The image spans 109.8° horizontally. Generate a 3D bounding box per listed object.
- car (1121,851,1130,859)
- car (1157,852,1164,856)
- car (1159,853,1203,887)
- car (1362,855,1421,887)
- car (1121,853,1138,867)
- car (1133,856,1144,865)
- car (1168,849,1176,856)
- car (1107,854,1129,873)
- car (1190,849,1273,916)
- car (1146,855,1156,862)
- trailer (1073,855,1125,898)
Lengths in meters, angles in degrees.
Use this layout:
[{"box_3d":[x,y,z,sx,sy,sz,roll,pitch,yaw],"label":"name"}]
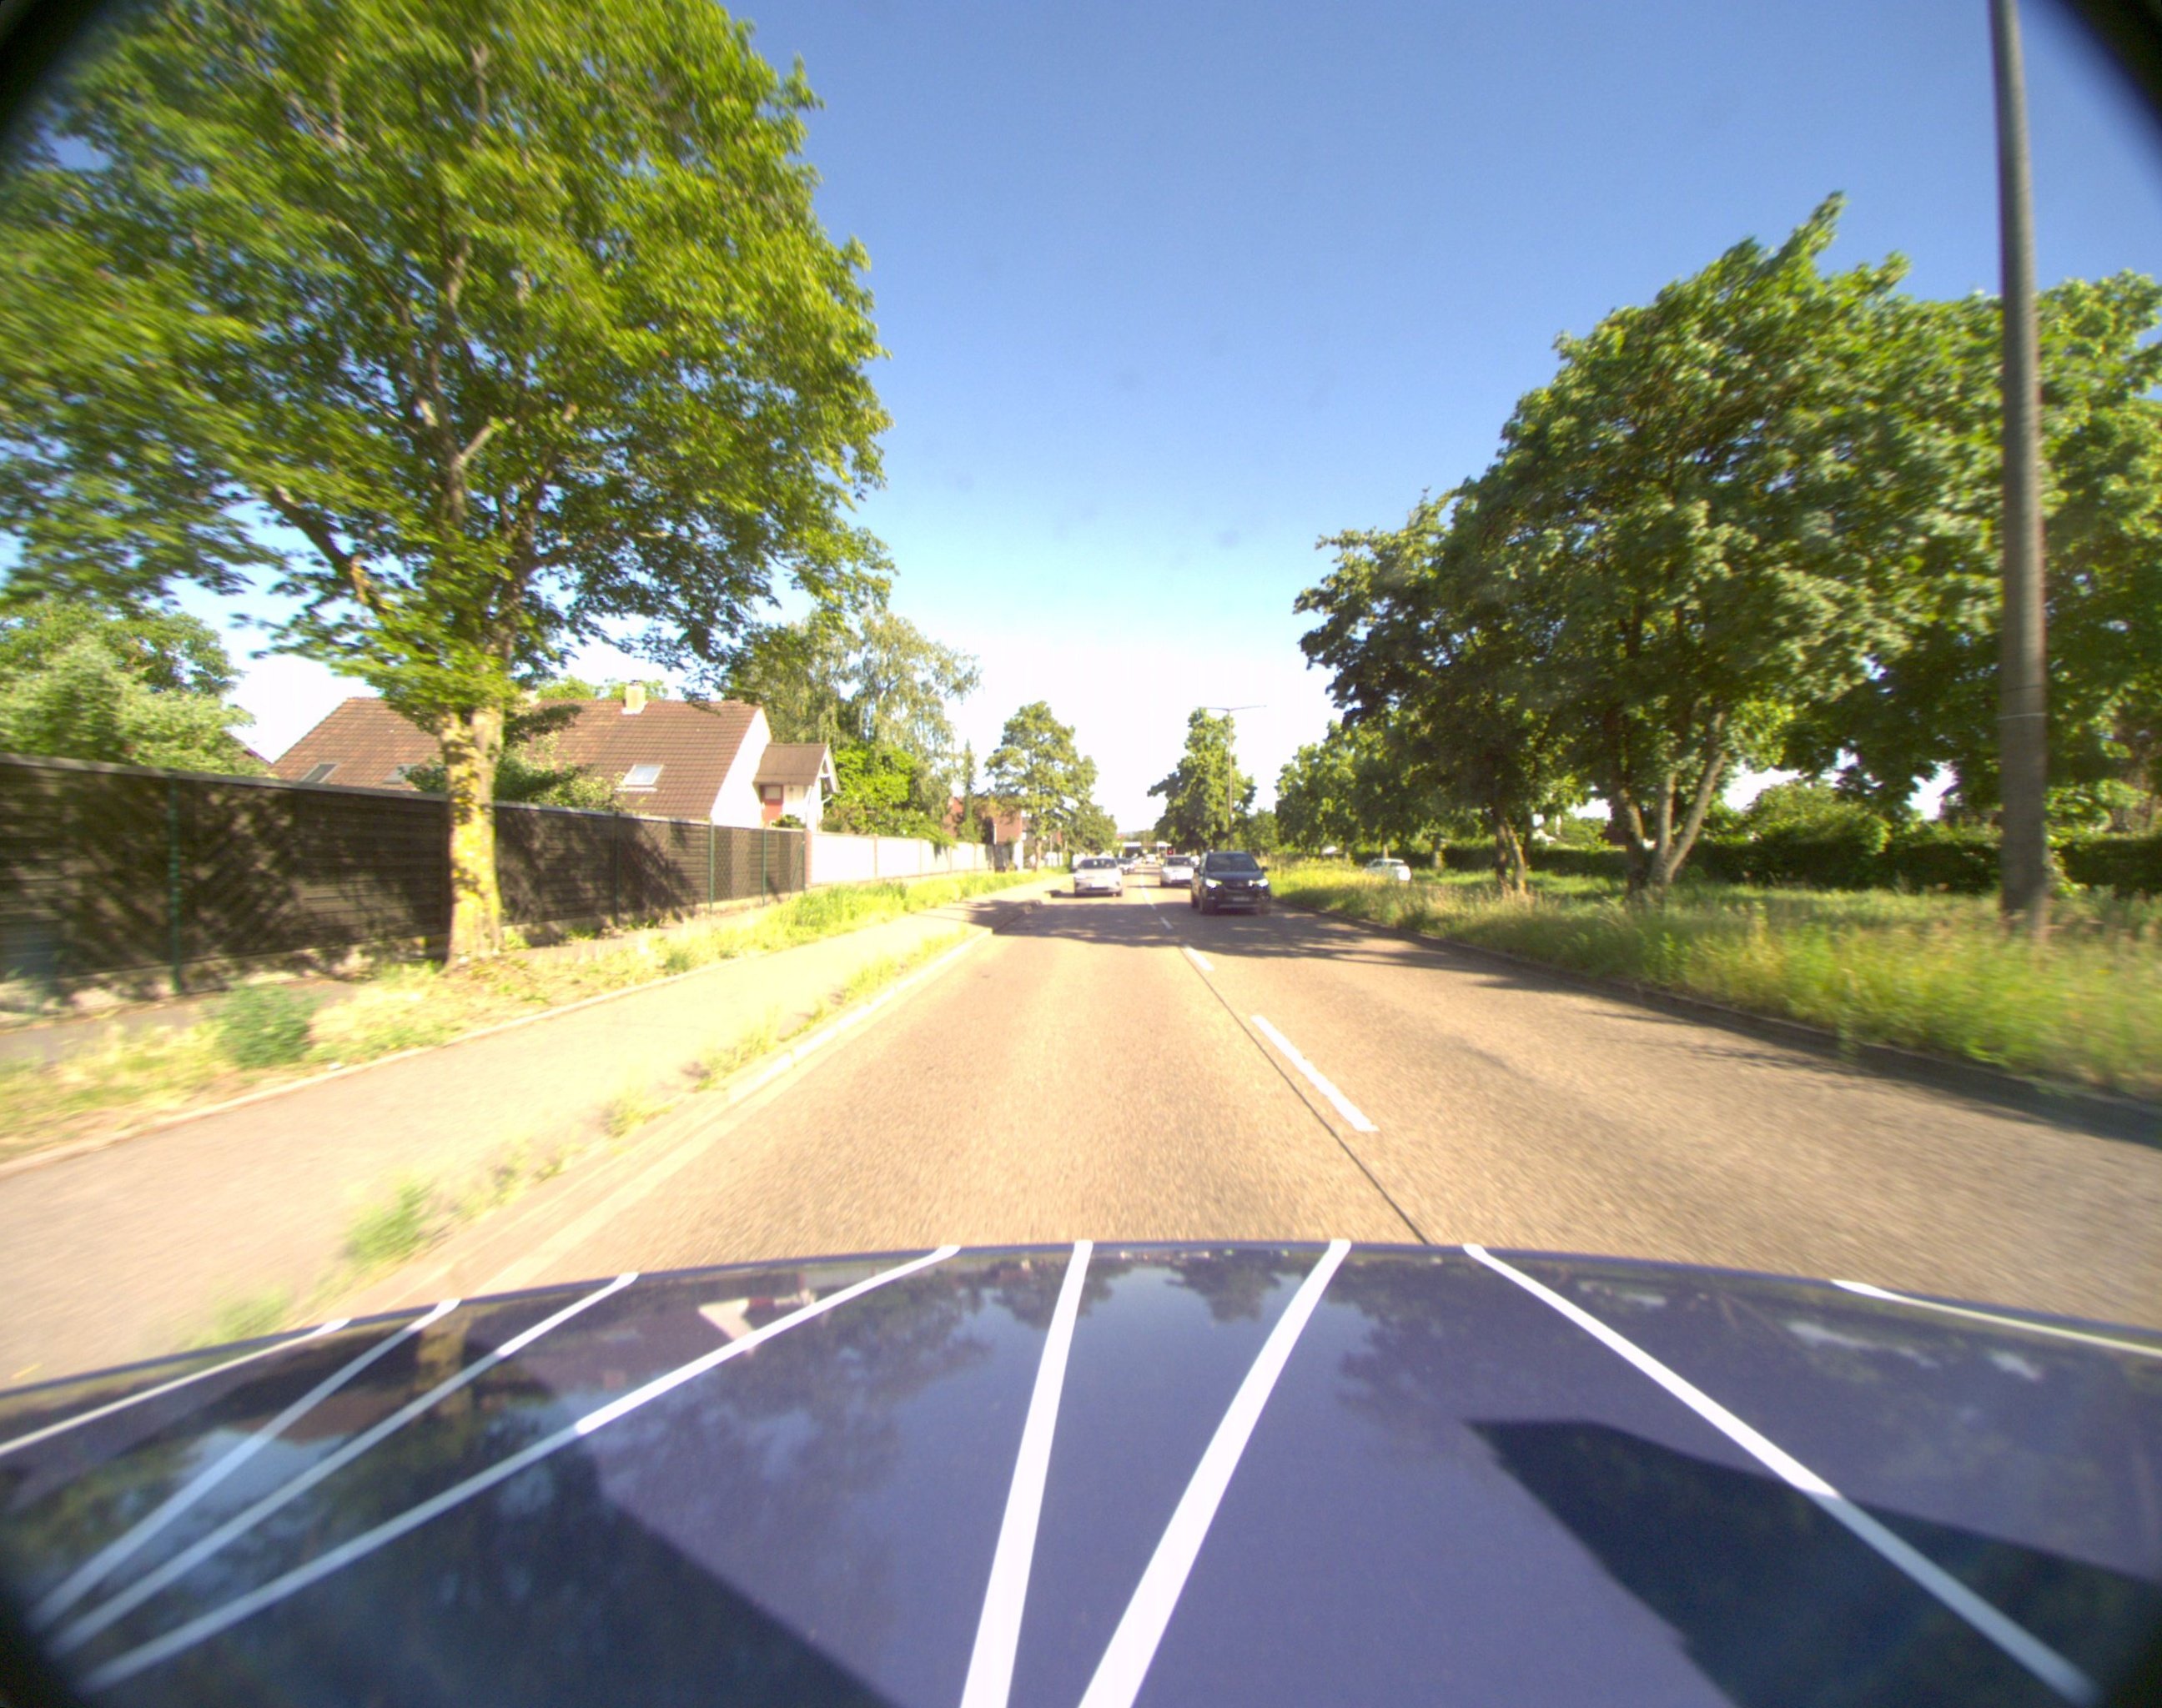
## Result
[{"box_3d":[11.827,0.223,202.475,1.999,2.069,3.999,-2,0,-2],"label":"car"},{"box_3d":[25.175,0.077,240.940,1.632,1.279,3.506,-1,0,-6],"label":"car"},{"box_3d":[4.885,0.740,37.689,1.823,1.553,4.647,-1,0,3],"label":"car"},{"box_3d":[17.581,0.922,43.221,1.942,1.647,4.001,-2,0,4],"label":"car"},{"box_3d":[5.556,0.665,86.797,1.823,1.587,4.274,-1,0,5],"label":"car"},{"box_3d":[11.726,1.341,154.969,1.999,1.674,3.999,0,0,-1],"label":"car"},{"box_3d":[24.876,-0.324,207.859,1.631,1.793,3.572,-1,0,1],"label":"car"},{"box_3d":[3.338,0.833,67.594,1.823,1.553,4.273,-1,1,4],"label":"car"},{"box_3d":[4.038,0.701,21.052,1.810,1.605,4.515,0,1,6],"label":"car"},{"box_3d":[17.229,1.001,186.857,1.999,1.674,3.999,0,0,-1],"label":"car"},{"box_3d":[0.768,0.845,30.510,1.897,1.585,4.001,-2,0,3],"label":"trailer"}]
